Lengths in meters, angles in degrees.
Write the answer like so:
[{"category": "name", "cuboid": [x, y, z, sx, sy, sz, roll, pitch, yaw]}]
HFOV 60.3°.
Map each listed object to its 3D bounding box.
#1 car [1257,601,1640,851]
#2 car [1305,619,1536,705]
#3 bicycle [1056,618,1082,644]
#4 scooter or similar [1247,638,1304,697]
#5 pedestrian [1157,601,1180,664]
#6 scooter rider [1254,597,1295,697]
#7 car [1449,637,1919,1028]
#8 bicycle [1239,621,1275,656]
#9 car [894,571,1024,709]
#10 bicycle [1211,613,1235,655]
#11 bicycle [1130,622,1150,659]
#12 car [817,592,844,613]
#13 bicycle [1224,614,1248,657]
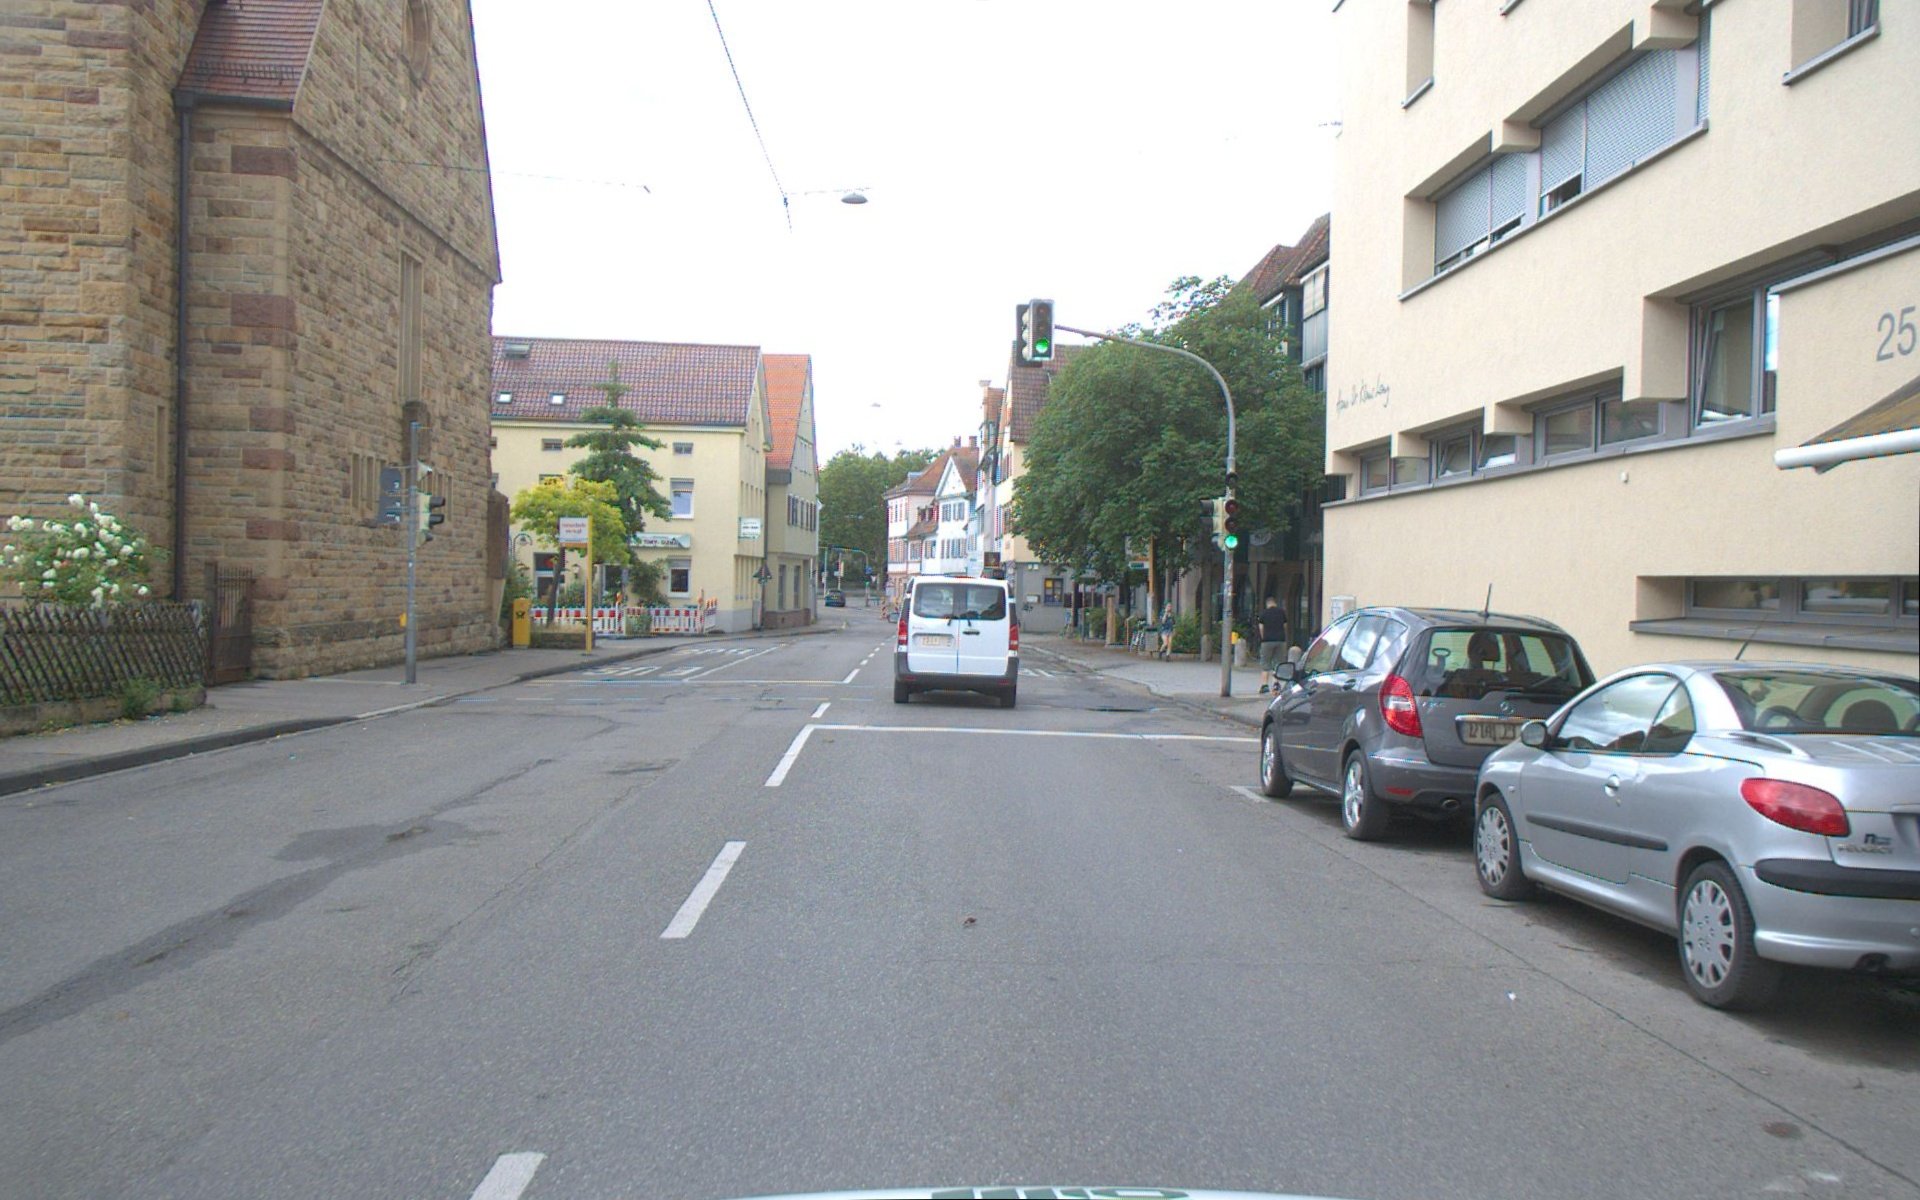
[{"category": "car", "cuboid": [3.515, 0.833, 12.614, 1.677, 1.588, 3.784, 1, -1, -2]}, {"category": "car", "cuboid": [9.655, 1.280, 34.961, 4.415, 1.601, 1.854, 2, -1, 5]}, {"category": "bicycle", "cuboid": [4.870, 1.365, 73.937, 0.492, 1.126, 1.628, 1, -1, -21]}, {"category": "scooter or similar", "cuboid": [5.302, 1.130, 27.812, 0.650, 0.962, 0.817, -1, -2, -12]}, {"category": "pedestrian", "cuboid": [5.863, 0.898, 46.461, 0.589, 1.746, 0.860, 1, -1, 6]}, {"category": "scooter rider", "cuboid": [5.290, 0.791, 27.819, 0.445, 1.660, 0.503, -1, -2, -16]}, {"category": "car", "cuboid": [3.743, 0.904, 7.963, 1.520, 1.356, 3.810, 1, 0, -2]}, {"category": "bicycle", "cuboid": [9.530, 1.220, 53.180, 0.534, 1.088, 2.288, 0, 0, -6]}, {"category": "car", "cuboid": [-0.012, 0.603, 25.764, 1.834, 1.945, 3.999, 1, -1, 0]}, {"category": "bicycle", "cuboid": [8.423, 1.083, 52.989, 0.326, 1.323, 1.958, 2, -1, -2]}, {"category": "bicycle", "cuboid": [5.818, 1.296, 53.580, 0.326, 1.161, 1.958, 2, -1, -2]}, {"category": "car", "cuboid": [-13.060, 0.227, 166.613, 1.903, 2.049, 3.982, 2, -1, -16]}, {"category": "bicycle", "cuboid": [8.832, 1.129, 53.021, 0.326, 1.323, 1.958, 2, -1, -2]}]
